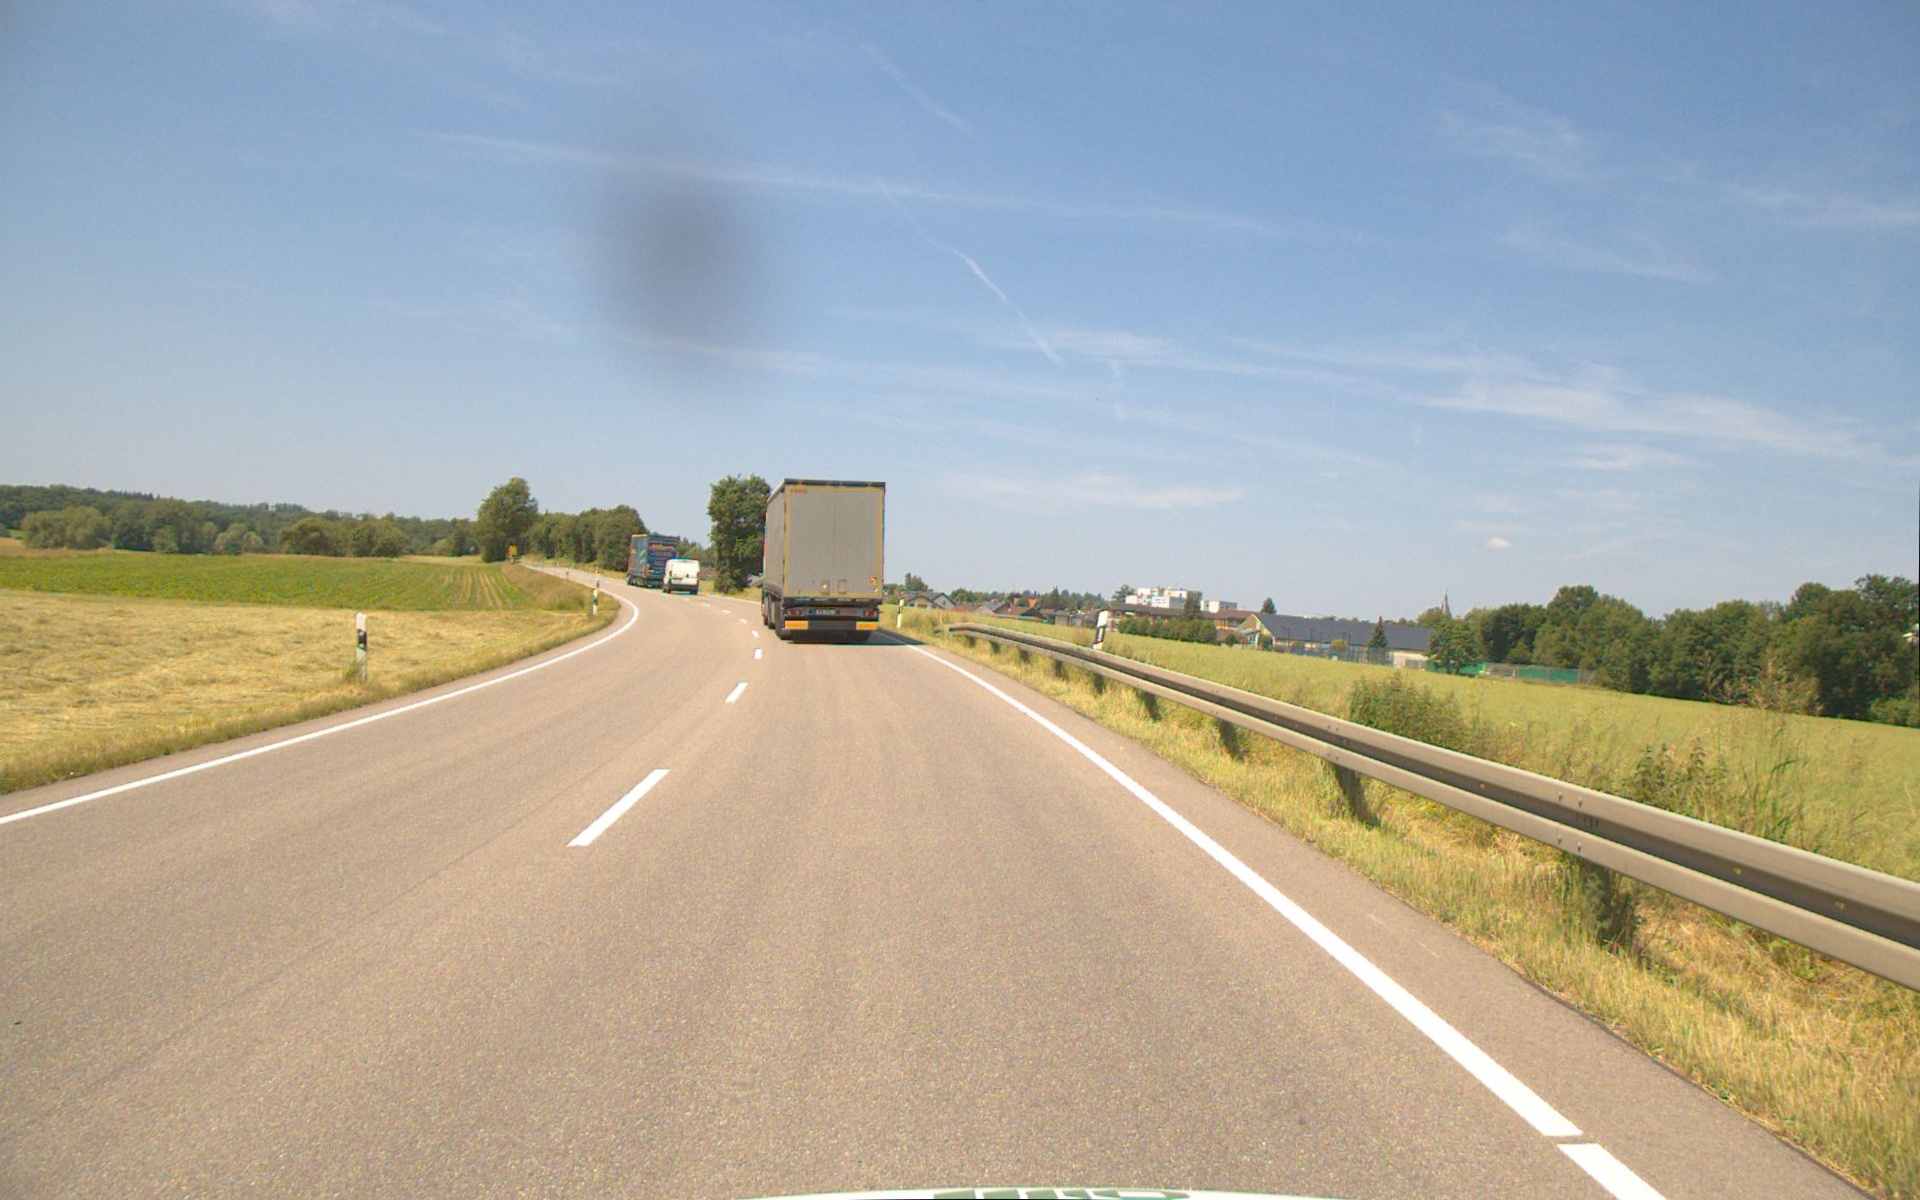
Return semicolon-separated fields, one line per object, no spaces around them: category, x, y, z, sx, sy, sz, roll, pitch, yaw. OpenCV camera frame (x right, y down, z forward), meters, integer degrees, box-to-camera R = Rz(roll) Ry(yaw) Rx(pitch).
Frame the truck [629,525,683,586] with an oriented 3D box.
truck;-24.918;-3.536;134.825;3.488;4.468;18.065;3;1;-12

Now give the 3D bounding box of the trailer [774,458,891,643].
trailer;-3.786;-1.298;47.137;2.811;4.477;13.477;0;1;-6

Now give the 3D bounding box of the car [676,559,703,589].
car;-18.141;-1.769;110.936;1.694;1.905;3.991;2;0;-9
